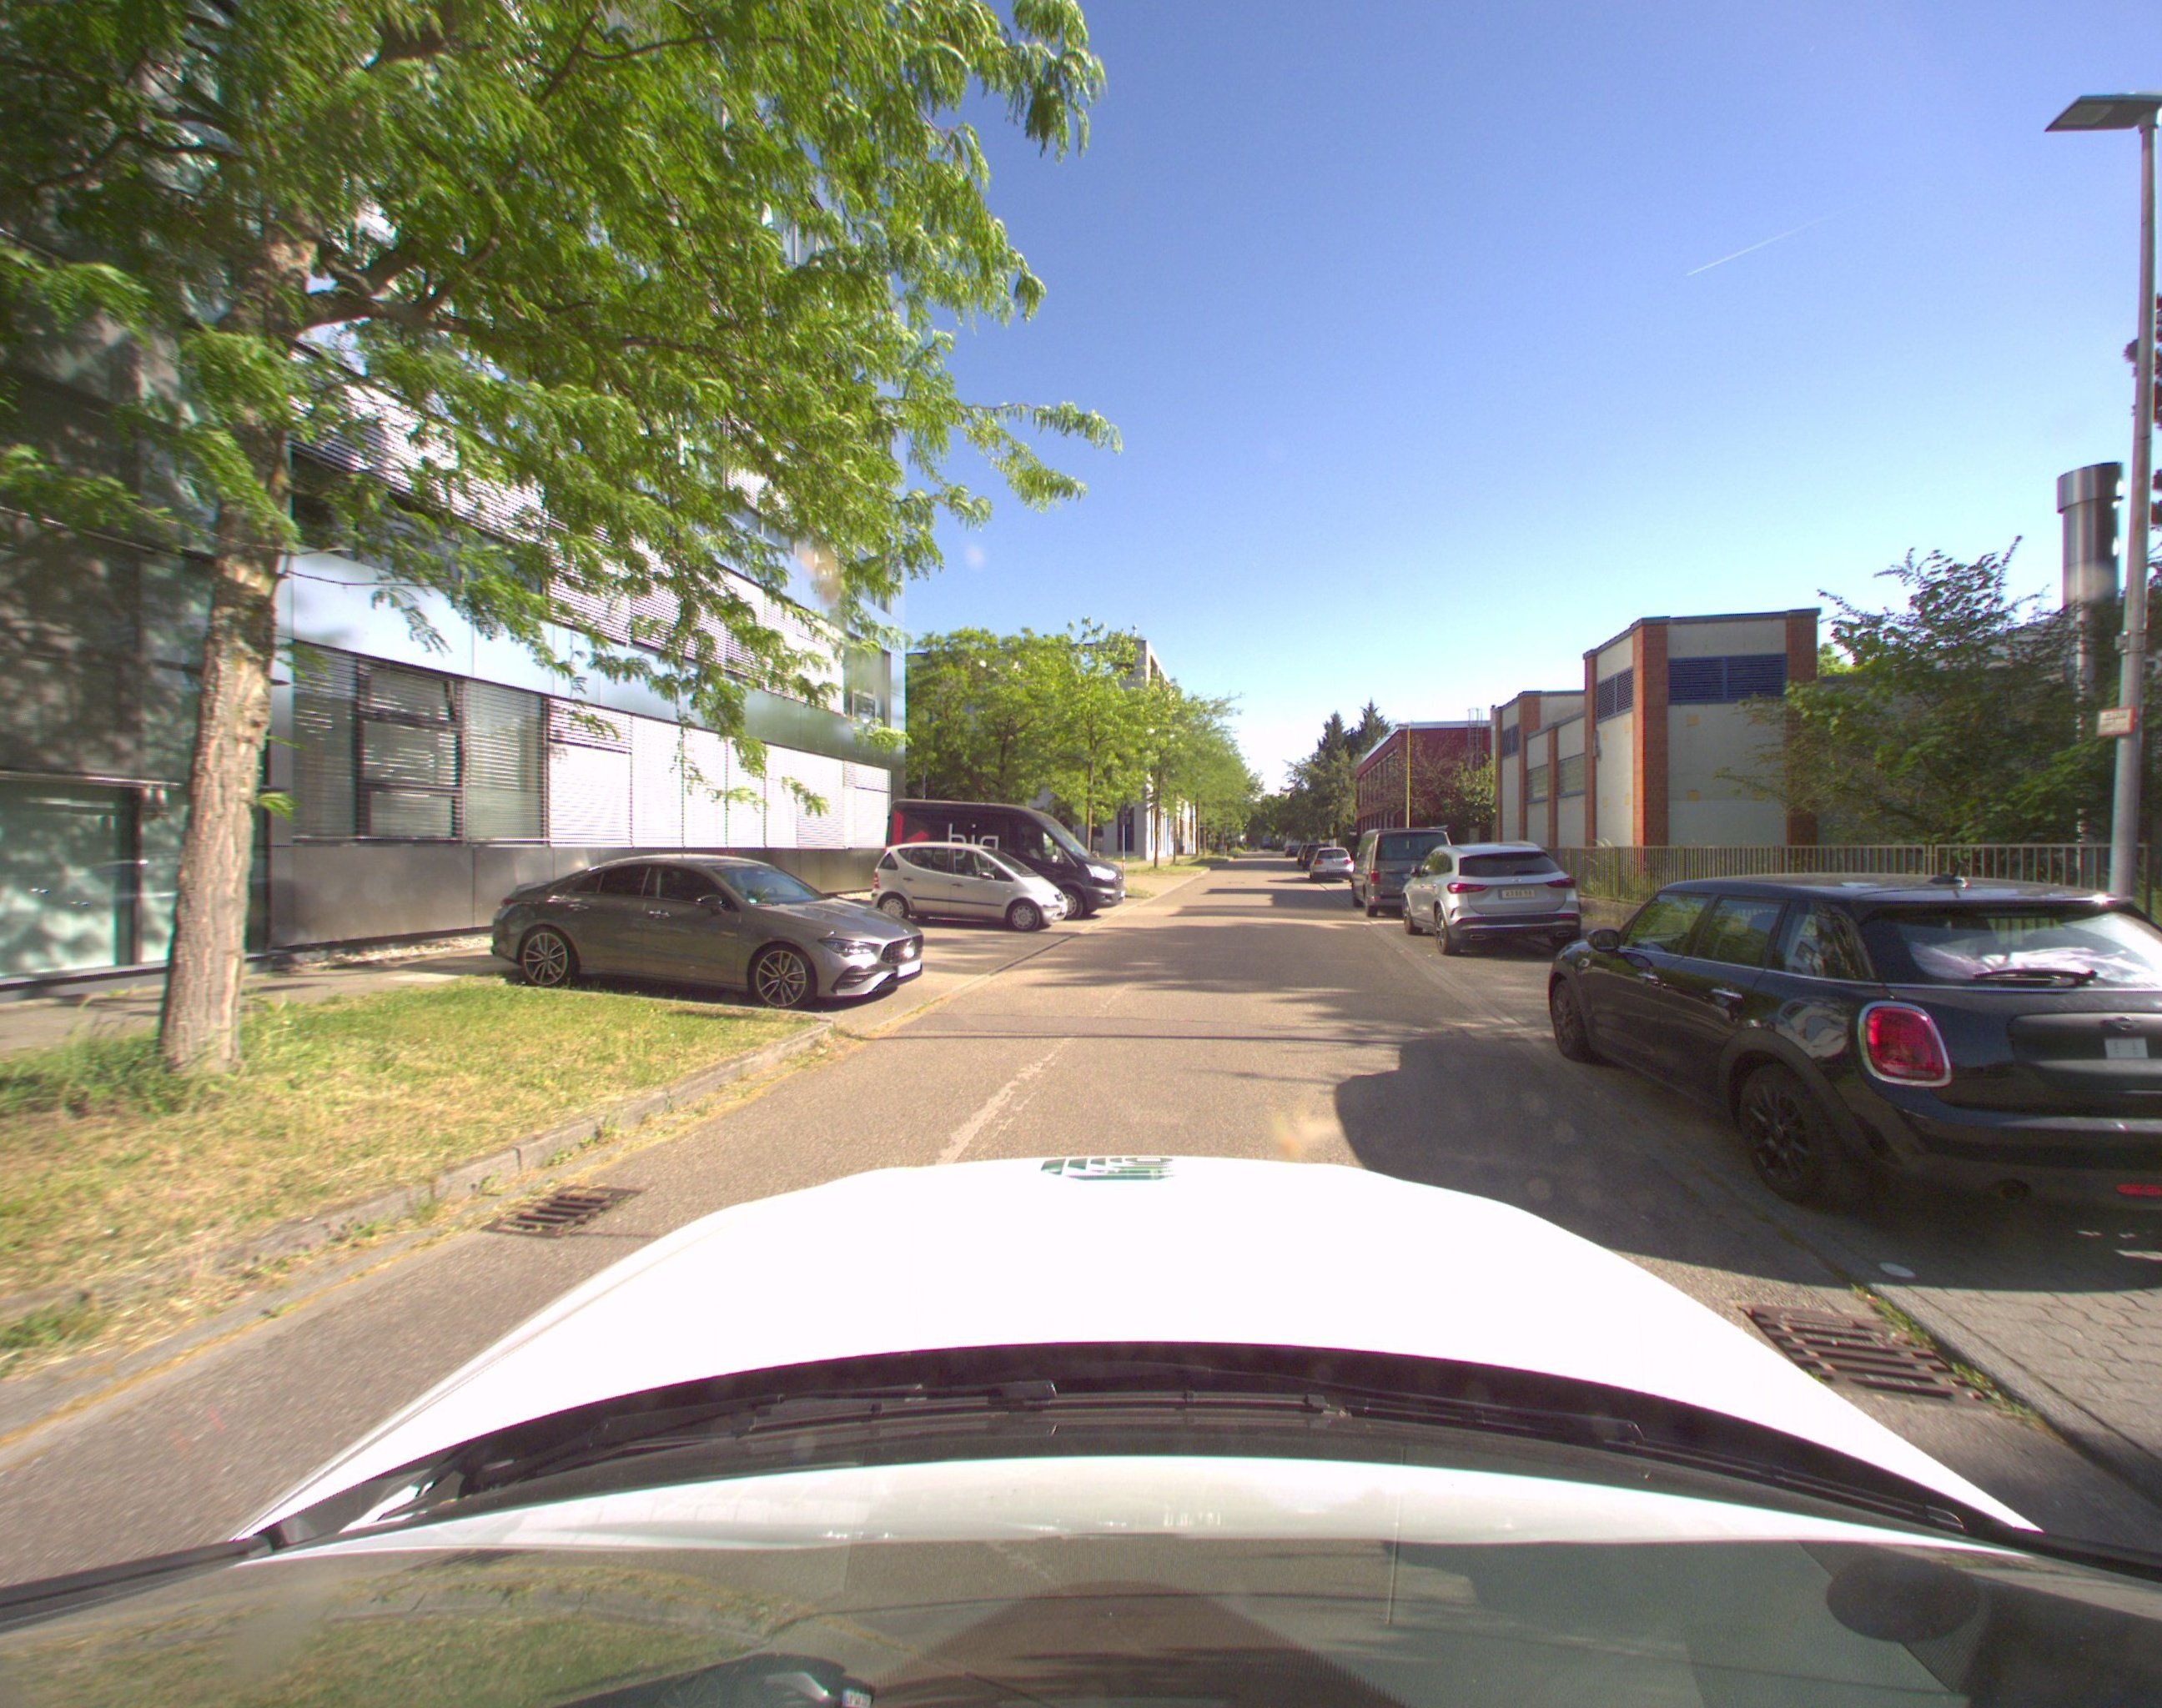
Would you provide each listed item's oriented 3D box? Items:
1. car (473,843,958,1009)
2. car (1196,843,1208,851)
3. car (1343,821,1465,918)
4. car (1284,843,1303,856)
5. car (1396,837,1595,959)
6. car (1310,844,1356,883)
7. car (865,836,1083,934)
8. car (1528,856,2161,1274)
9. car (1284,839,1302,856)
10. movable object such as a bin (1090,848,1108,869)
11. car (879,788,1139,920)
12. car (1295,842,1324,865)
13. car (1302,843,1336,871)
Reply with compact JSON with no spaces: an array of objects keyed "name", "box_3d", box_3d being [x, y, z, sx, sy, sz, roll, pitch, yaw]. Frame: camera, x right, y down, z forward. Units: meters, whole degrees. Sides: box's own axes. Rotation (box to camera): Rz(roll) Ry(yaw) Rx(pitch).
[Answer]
[{"name":"car","box_3d":[-3.851,0.649,8.878,4.504,1.350,1.899,2,1,12]},{"name":"car","box_3d":[20.369,-1.166,136.619,1.894,1.341,3.804,0,1,10]},{"name":"car","box_3d":[7.547,0.328,19.508,1.930,2.022,4.842,-1,0,13]},{"name":"car","box_3d":[24.058,-0.490,92.361,1.979,1.442,4.015,0,0,13]},{"name":"car","box_3d":[6.410,0.600,13.139,1.813,1.629,4.308,-2,0,13]},{"name":"car","box_3d":[10.855,0.366,35.274,1.648,1.561,3.949,0,1,14]},{"name":"car","box_3d":[-2.041,0.558,16.168,3.807,1.645,1.898,2,1,11]},{"name":"car","box_3d":[4.177,0.783,4.827,1.641,1.472,3.777,-2,0,12]},{"name":"car","box_3d":[25.523,-0.818,98.105,1.979,1.834,4.015,-3,0,13]},{"name":"movable object such as a bin","box_3d":[1.039,0.279,47.678,0.658,1.181,1.942,0,1,13]},{"name":"car","box_3d":[-1.579,-0.047,18.741,5.418,2.622,2.239,2,1,12]},{"name":"car","box_3d":[16.818,-0.065,60.075,1.842,1.648,4.015,-1,1,13]},{"name":"car","box_3d":[14.440,0.133,49.590,1.825,1.633,4.217,0,1,14]}]
